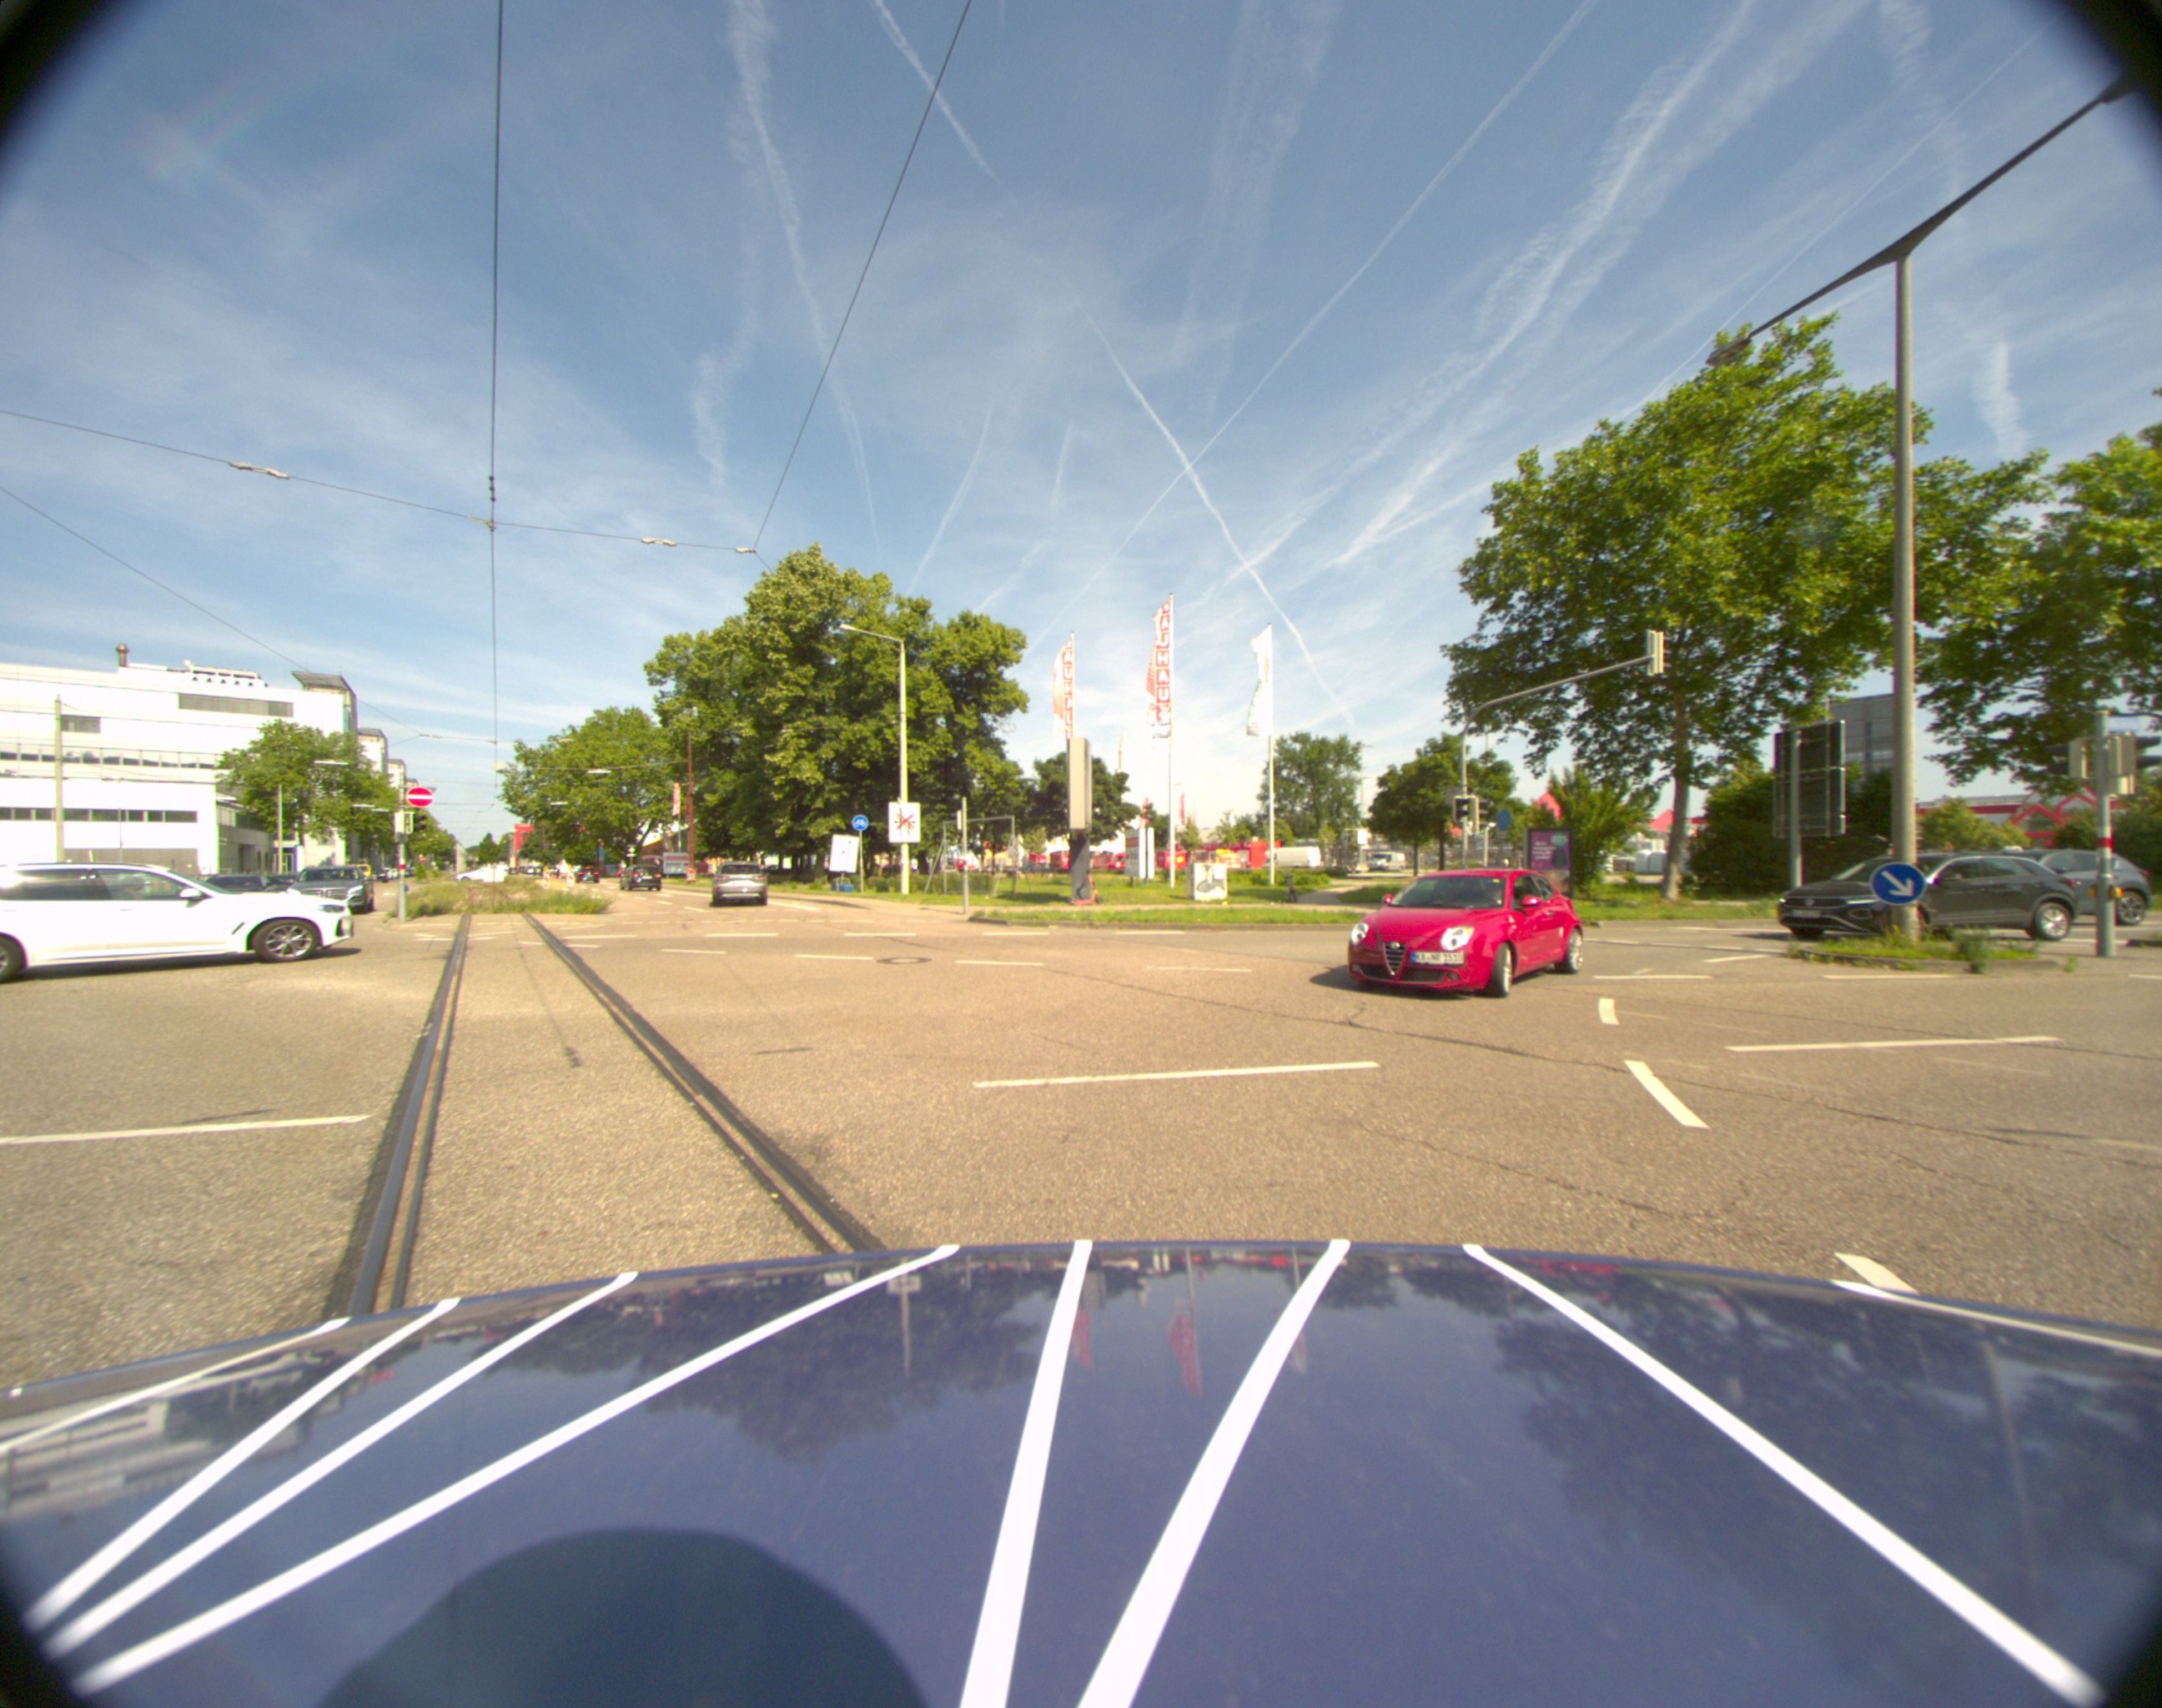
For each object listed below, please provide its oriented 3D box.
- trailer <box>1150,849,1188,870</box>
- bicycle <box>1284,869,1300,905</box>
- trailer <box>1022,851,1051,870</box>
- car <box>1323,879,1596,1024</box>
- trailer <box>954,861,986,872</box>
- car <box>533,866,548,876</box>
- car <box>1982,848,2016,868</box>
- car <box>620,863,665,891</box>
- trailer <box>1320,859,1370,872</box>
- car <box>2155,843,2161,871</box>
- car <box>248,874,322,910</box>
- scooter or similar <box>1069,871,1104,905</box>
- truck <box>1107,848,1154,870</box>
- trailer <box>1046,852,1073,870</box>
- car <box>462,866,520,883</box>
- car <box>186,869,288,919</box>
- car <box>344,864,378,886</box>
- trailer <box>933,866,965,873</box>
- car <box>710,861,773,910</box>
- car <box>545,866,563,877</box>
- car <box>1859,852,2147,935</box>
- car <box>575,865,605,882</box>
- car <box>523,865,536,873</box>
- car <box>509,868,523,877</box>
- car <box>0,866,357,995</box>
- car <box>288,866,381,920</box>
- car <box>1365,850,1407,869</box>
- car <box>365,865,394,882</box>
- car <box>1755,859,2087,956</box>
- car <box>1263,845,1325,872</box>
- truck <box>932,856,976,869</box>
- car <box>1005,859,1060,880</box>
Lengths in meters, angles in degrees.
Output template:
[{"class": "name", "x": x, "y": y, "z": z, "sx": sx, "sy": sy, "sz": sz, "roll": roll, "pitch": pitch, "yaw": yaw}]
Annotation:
[{"class": "trailer", "x": 10.378, "y": 0.637, "z": 89.181, "sx": 4.420, "sy": 2.362, "sz": 1.747, "roll": 0, "pitch": 0, "yaw": -36}, {"class": "bicycle", "x": 7.289, "y": 1.115, "z": 26.208, "sx": 0.503, "sy": 1.102, "sz": 1.793, "roll": -1, "pitch": 1, "yaw": 15}, {"class": "trailer", "x": -5.887, "y": 0.855, "z": 100.047, "sx": 1.594, "sy": 2.362, "sz": 4.399, "roll": 0, "pitch": 0, "yaw": -37}, {"class": "car", "x": 4.914, "y": 1.062, "z": 9.636, "sx": 3.916, "sy": 1.429, "sz": 1.655, "roll": 1, "pitch": -3, "yaw": -40}, {"class": "trailer", "x": -13.493, "y": 1.556, "z": 91.926, "sx": 1.594, "sy": 1.279, "sz": 4.399, "roll": -1, "pitch": 0, "yaw": -43}, {"class": "car", "x": -92.995, "y": 2.902, "z": 130.701, "sx": 1.855, "sy": 1.501, "sz": 4.332, "roll": -1, "pitch": 0, "yaw": -39}, {"class": "car", "x": 73.834, "y": 0.337, "z": 61.107, "sx": 4.008, "sy": 1.565, "sz": 1.685, "roll": -1, "pitch": 0, "yaw": -39}, {"class": "car", "x": -27.490, "y": 1.401, "z": 47.577, "sx": 1.818, "sy": 1.596, "sz": 4.366, "roll": -1, "pitch": 0, "yaw": -38}, {"class": "trailer", "x": 24.814, "y": 1.096, "z": 71.507, "sx": 2.073, "sy": 1.116, "sz": 4.020, "roll": -3, "pitch": 1, "yaw": -38}, {"class": "car", "x": 62.972, "y": 0.130, "z": 42.075, "sx": 1.853, "sy": 1.575, "sz": 3.851, "roll": -1, "pitch": 0, "yaw": -42}, {"class": "car", "x": -36.715, "y": 1.700, "z": 35.142, "sx": 1.785, "sy": 1.435, "sz": 4.614, "roll": -1, "pitch": 0, "yaw": -39}, {"class": "scooter or similar", "x": 0.192, "y": 1.133, "z": 25.429, "sx": 1.123, "sy": 1.120, "sz": 0.425, "roll": -1, "pitch": 0, "yaw": -4}, {"class": "truck", "x": 6.072, "y": 0.596, "z": 93.136, "sx": 6.043, "sy": 2.594, "sz": 2.014, "roll": 0, "pitch": 0, "yaw": -42}, {"class": "trailer", "x": -2.915, "y": 0.876, "z": 101.420, "sx": 1.554, "sy": 2.344, "sz": 4.400, "roll": 0, "pitch": 0, "yaw": -34}, {"class": "car", "x": -62.529, "y": 2.153, "z": 80.561, "sx": 1.910, "sy": 1.679, "sz": 4.636, "roll": -1, "pitch": 0, "yaw": 44}, {"class": "car", "x": -32.279, "y": 1.454, "z": 29.196, "sx": 1.919, "sy": 1.679, "sz": 4.614, "roll": -1, "pitch": 0, "yaw": -39}, {"class": "car", "x": -63.487, "y": 1.807, "z": 67.050, "sx": 1.785, "sy": 1.799, "sz": 4.614, "roll": -1, "pitch": 0, "yaw": -39}, {"class": "trailer", "x": -15.557, "y": 1.837, "z": 89.518, "sx": 2.103, "sy": 0.777, "sz": 4.400, "roll": -1, "pitch": 0, "yaw": -35}, {"class": "car", "x": -12.740, "y": 1.116, "z": 28.522, "sx": 2.000, "sy": 1.641, "sz": 4.646, "roll": -1, "pitch": 0, "yaw": -24}, {"class": "car", "x": -76.411, "y": 2.585, "z": 110.064, "sx": 1.855, "sy": 1.501, "sz": 4.332, "roll": -1, "pitch": 0, "yaw": -39}, {"class": "car", "x": 20.400, "y": 0.852, "z": 16.920, "sx": 4.494, "sy": 1.648, "sz": 1.771, "roll": -1, "pitch": -2, "yaw": -4}, {"class": "car", "x": -46.158, "y": 1.772, "z": 71.386, "sx": 1.855, "sy": 1.501, "sz": 4.382, "roll": -1, "pitch": 0, "yaw": -39}, {"class": "car", "x": -109.644, "y": 2.976, "z": 150.942, "sx": 1.855, "sy": 1.501, "sz": 4.332, "roll": -1, "pitch": 0, "yaw": -39}, {"class": "car", "x": -101.825, "y": 3.292, "z": 136.887, "sx": 1.855, "sy": 1.501, "sz": 4.332, "roll": -1, "pitch": 0, "yaw": -39}, {"class": "car", "x": -14.554, "y": 1.071, "z": 11.784, "sx": 1.910, "sy": 1.679, "sz": 4.636, "roll": -1, "pitch": 0, "yaw": 41}, {"class": "car", "x": -26.332, "y": 1.307, "z": 26.943, "sx": 1.919, "sy": 1.679, "sz": 4.614, "roll": -1, "pitch": 0, "yaw": -39}, {"class": "car", "x": 30.170, "y": 0.536, "z": 75.033, "sx": 4.841, "sy": 1.805, "sz": 1.869, "roll": 0, "pitch": 1, "yaw": -42}, {"class": "car", "x": -75.053, "y": 2.043, "z": 81.297, "sx": 1.919, "sy": 1.679, "sz": 4.614, "roll": -1, "pitch": 0, "yaw": -38}, {"class": "car", "x": 14.969, "y": 0.901, "z": 13.697, "sx": 4.079, "sy": 1.536, "sz": 1.875, "roll": -1, "pitch": -1, "yaw": -4}, {"class": "car", "x": 21.214, "y": 0.460, "z": 75.804, "sx": 2.023, "sy": 2.528, "sz": 5.673, "roll": -3, "pitch": 2, "yaw": -41}, {"class": "truck", "x": -18.292, "y": 1.199, "z": 109.695, "sx": 6.017, "sy": 1.820, "sz": 2.182, "roll": 0, "pitch": -3, "yaw": -38}, {"class": "car", "x": -3.884, "y": 1.204, "z": 61.236, "sx": 4.057, "sy": 1.578, "sz": 1.726, "roll": -1, "pitch": 0, "yaw": -31}]
